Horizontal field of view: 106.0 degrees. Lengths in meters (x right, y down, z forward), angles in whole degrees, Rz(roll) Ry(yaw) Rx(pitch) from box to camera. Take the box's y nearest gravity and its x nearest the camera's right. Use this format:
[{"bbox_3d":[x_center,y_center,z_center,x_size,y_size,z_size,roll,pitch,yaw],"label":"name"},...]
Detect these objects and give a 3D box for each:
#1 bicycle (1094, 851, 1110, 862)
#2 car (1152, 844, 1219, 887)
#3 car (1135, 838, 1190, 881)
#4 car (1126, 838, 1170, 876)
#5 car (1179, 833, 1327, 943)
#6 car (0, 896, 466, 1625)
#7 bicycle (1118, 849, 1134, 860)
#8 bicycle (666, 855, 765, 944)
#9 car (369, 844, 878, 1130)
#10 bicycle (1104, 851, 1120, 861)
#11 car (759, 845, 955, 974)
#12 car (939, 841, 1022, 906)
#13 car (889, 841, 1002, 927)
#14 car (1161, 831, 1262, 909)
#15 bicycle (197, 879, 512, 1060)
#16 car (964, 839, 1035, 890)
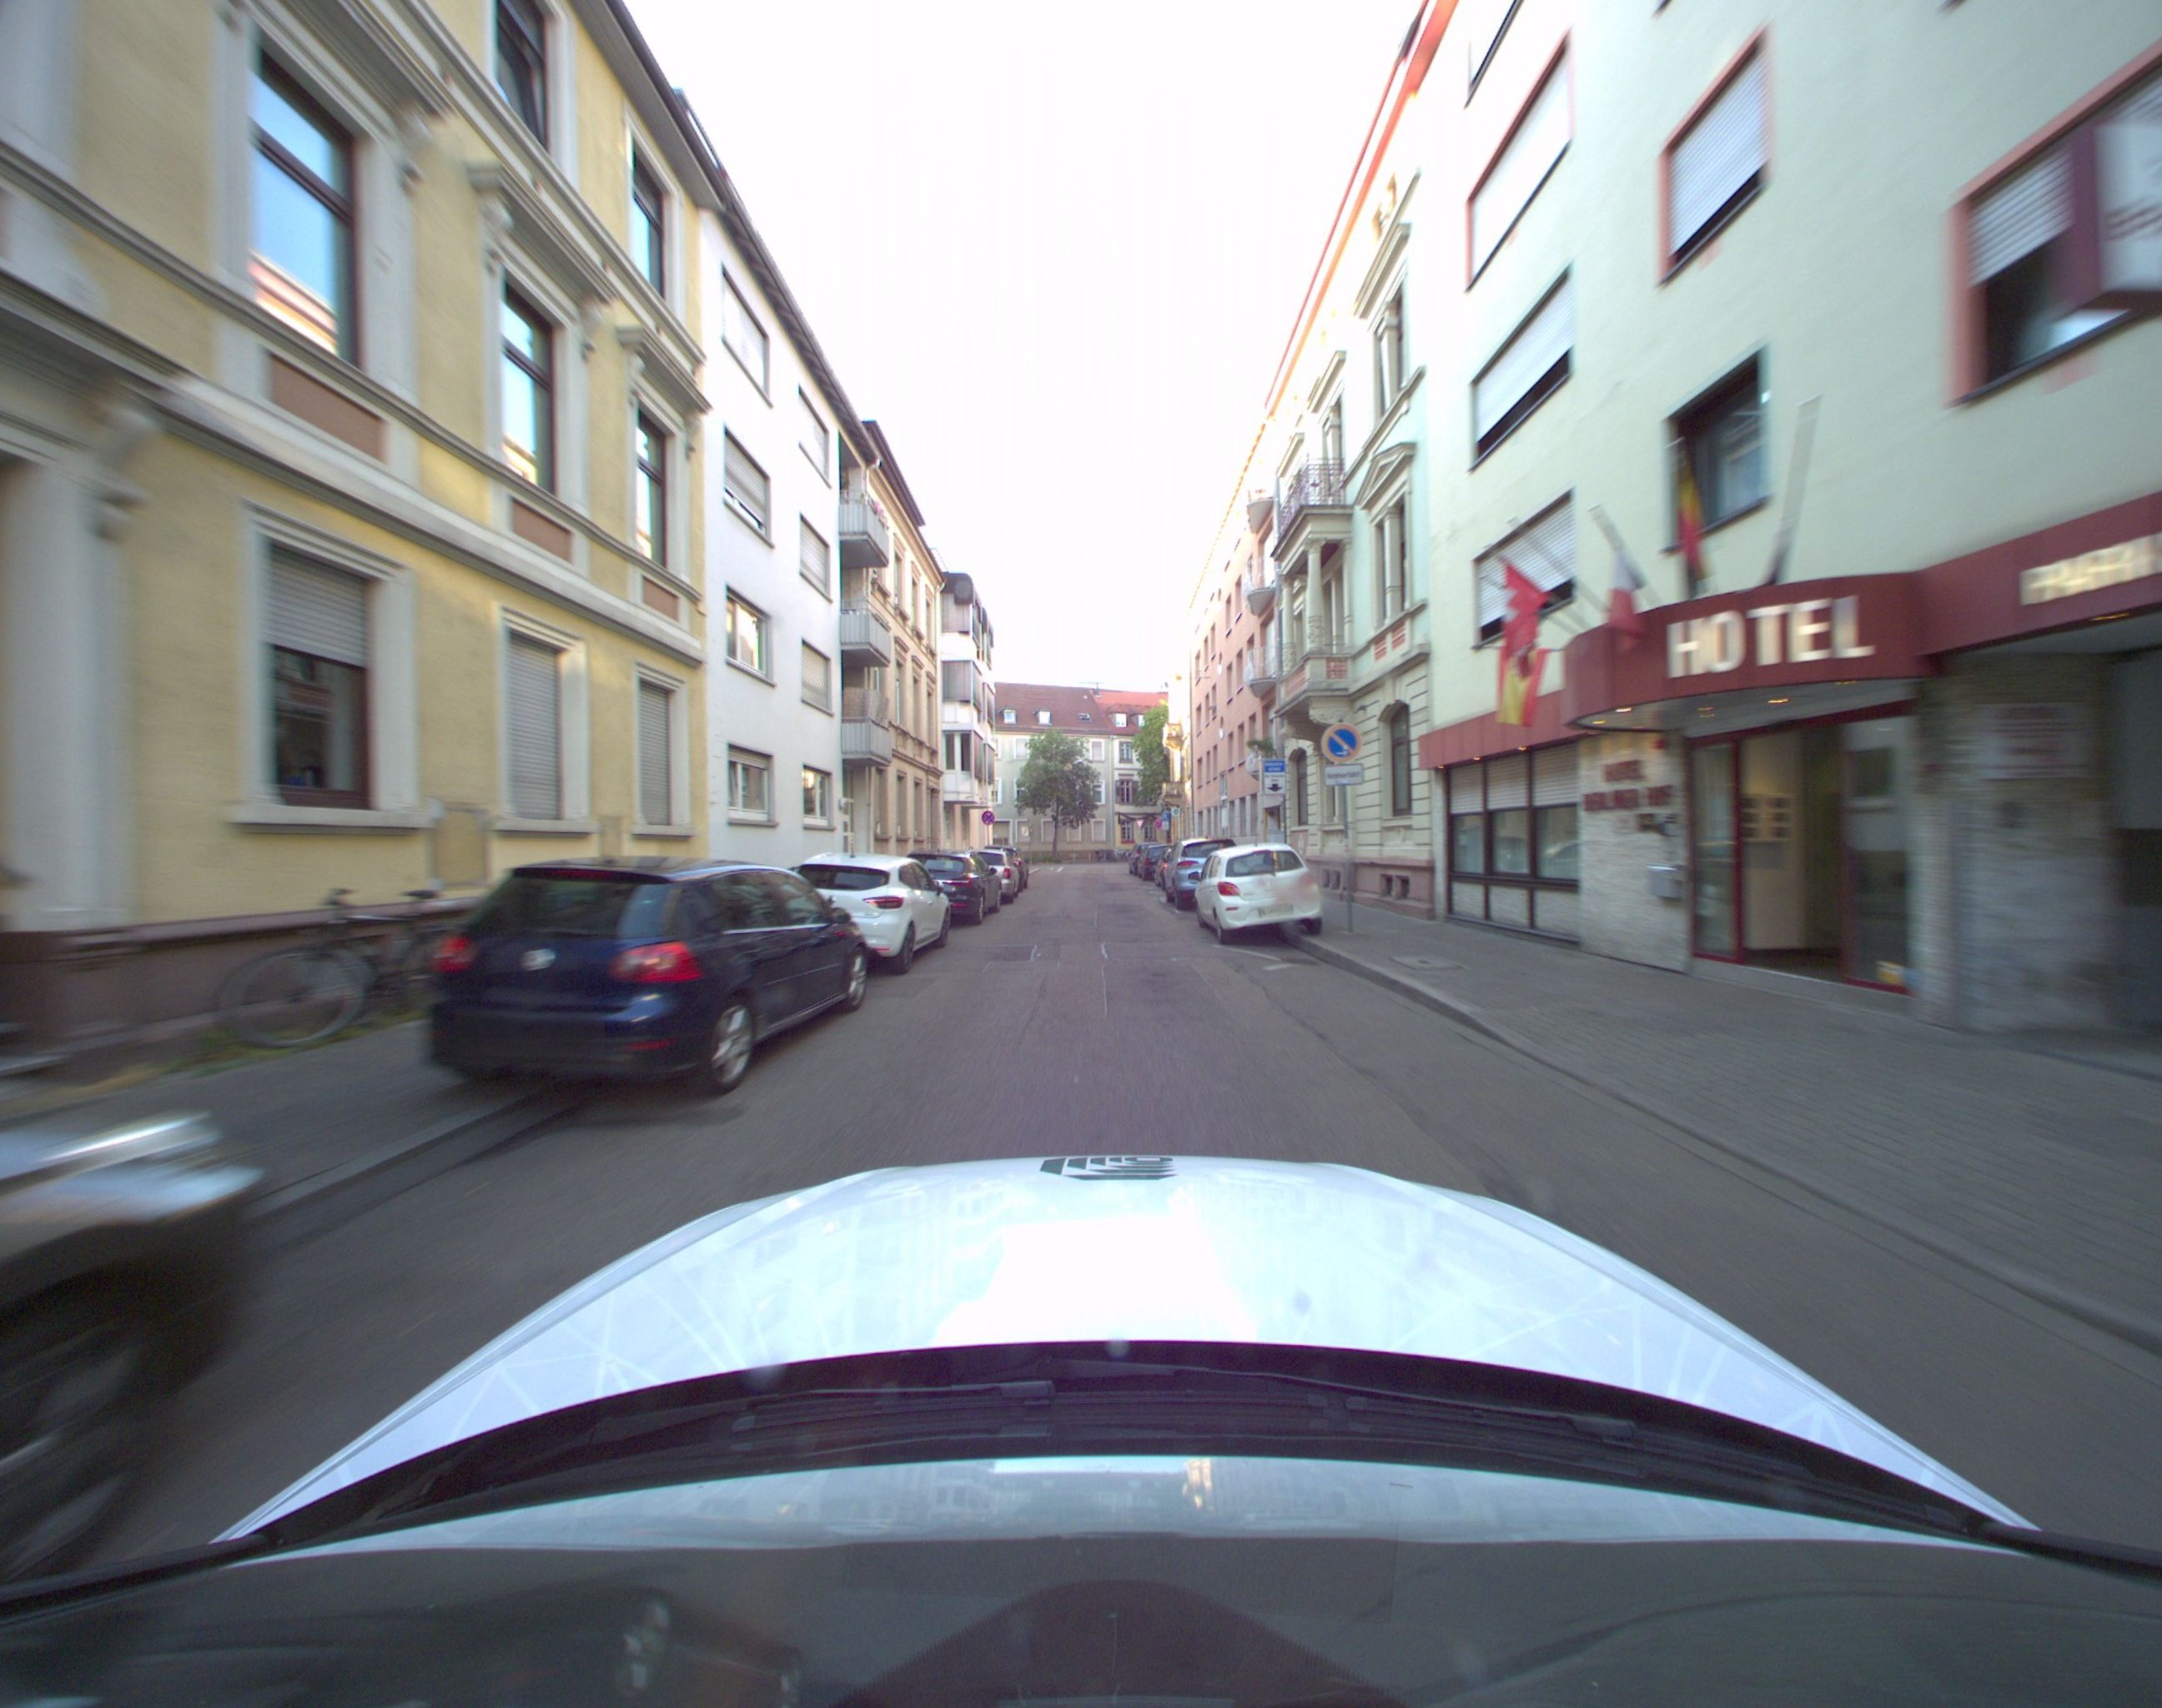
[{"bbox_3d":[1.865,0.260,73.089,0.521,0.949,1.707,-1,-1,-32],"label":"bicycle"},{"bbox_3d":[3.650,0.375,28.954,1.986,1.384,3.708,-2,1,2],"label":"car"},{"bbox_3d":[3.531,0.215,36.092,1.987,1.708,3.999,-2,0,0],"label":"car"},{"bbox_3d":[3.353,0.115,41.189,1.986,1.761,4.002,-2,0,2],"label":"car"},{"bbox_3d":[2.798,0.475,14.049,1.656,1.458,3.760,-7,1,1],"label":"car"},{"bbox_3d":[-2.927,0.821,0.641,1.678,1.332,4.132,-1,0,1],"label":"car"},{"bbox_3d":[4.010,0.023,72.264,0.521,0.949,1.707,-2,1,-32],"label":"bicycle"},{"bbox_3d":[-5.562,0.638,12.536,0.521,1.200,2.123,-2,1,0],"label":"bicycle"},{"bbox_3d":[-2.990,0.712,6.388,1.722,1.509,3.831,-1,1,1],"label":"car"},{"bbox_3d":[2.763,0.188,71.633,0.521,0.894,1.708,-2,1,-32],"label":"bicycle"},{"bbox_3d":[-2.940,0.637,11.504,1.624,1.472,3.755,-1,1,1],"label":"car"},{"bbox_3d":[-2.814,0.499,23.637,1.989,1.666,4.405,-1,1,-2],"label":"car"},{"bbox_3d":[-2.773,0.538,17.552,1.609,1.570,4.304,-1,1,1],"label":"car"},{"bbox_3d":[3.166,0.336,20.514,1.986,1.732,4.061,-1,0,2],"label":"car"},{"bbox_3d":[-5.611,0.805,6.523,0.532,1.118,2.131,-1,0,2],"label":"bicycle"},{"bbox_3d":[-2.884,0.360,29.604,1.986,1.662,3.979,-2,0,2],"label":"car"}]
